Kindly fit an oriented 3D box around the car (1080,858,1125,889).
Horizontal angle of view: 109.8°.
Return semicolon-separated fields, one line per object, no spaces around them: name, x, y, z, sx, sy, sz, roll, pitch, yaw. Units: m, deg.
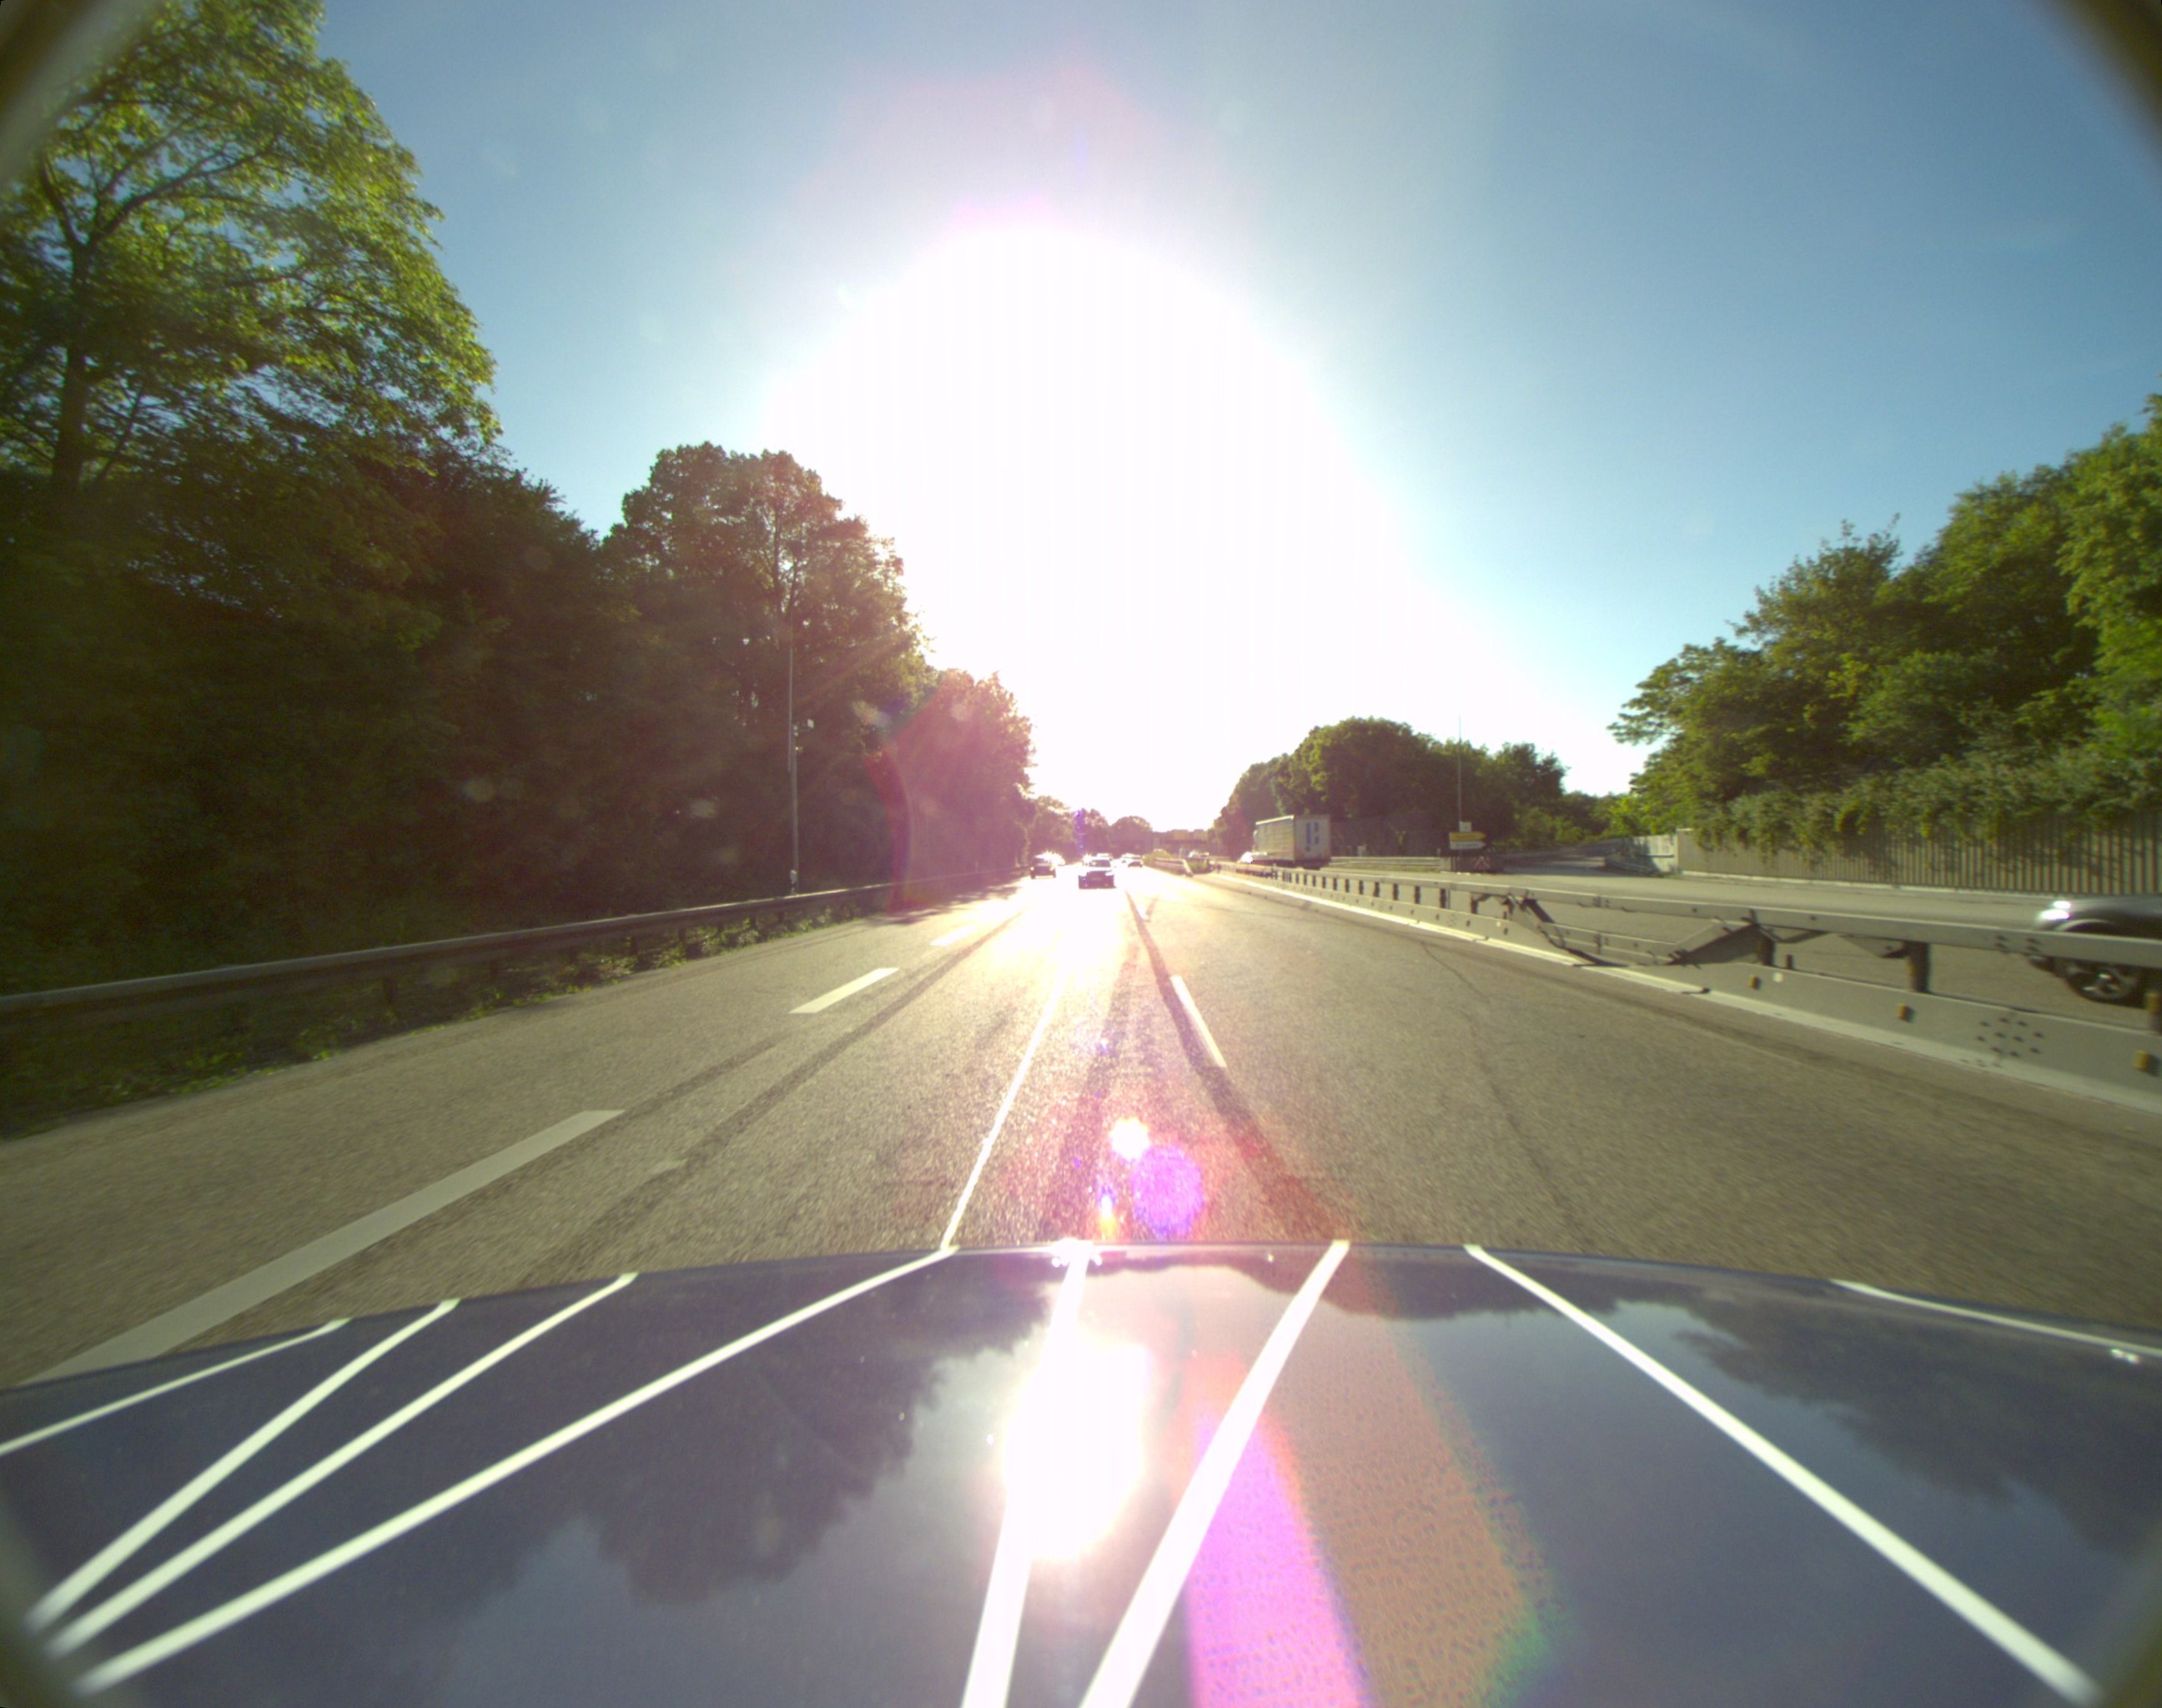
car;1.143;0.916;37.585;1.998;1.406;4.832;0;0;4

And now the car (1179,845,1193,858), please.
car;21.773;-0.481;157.927;2.152;2.595;6.052;-3;-1;1

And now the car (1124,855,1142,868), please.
car;6.005;0.885;88.110;1.998;1.406;4.832;-1;0;4

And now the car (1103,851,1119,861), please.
car;4.269;0.308;108.561;1.998;1.406;4.833;-1;0;5

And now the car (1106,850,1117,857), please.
car;6.221;-0.114;153.615;1.998;1.406;4.833;-1;0;5

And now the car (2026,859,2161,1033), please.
car;10.299;0.770;5.377;1.998;1.477;4.200;-1;-1;1

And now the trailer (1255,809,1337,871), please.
trailer;16.582;-0.896;59.947;2.754;4.254;14.088;-3;-1;2

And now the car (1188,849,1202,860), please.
car;19.568;0.123;130.259;1.998;1.772;4.787;-3;-1;5

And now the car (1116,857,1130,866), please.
car;6.951;1.160;125.899;1.998;1.406;4.833;-1;0;5

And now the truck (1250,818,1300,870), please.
truck;16.828;-0.806;66.335;2.742;4.236;6.388;-3;-1;2

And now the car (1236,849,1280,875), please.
car;12.081;0.543;52.234;1.998;1.648;4.940;-3;-1;3

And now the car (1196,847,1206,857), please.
car;28.637;-0.537;181.244;2.080;2.267;5.378;-3;-1;8

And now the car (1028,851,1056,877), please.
car;-2.712;0.701;53.817;1.746;1.652;4.000;-3;-1;0
